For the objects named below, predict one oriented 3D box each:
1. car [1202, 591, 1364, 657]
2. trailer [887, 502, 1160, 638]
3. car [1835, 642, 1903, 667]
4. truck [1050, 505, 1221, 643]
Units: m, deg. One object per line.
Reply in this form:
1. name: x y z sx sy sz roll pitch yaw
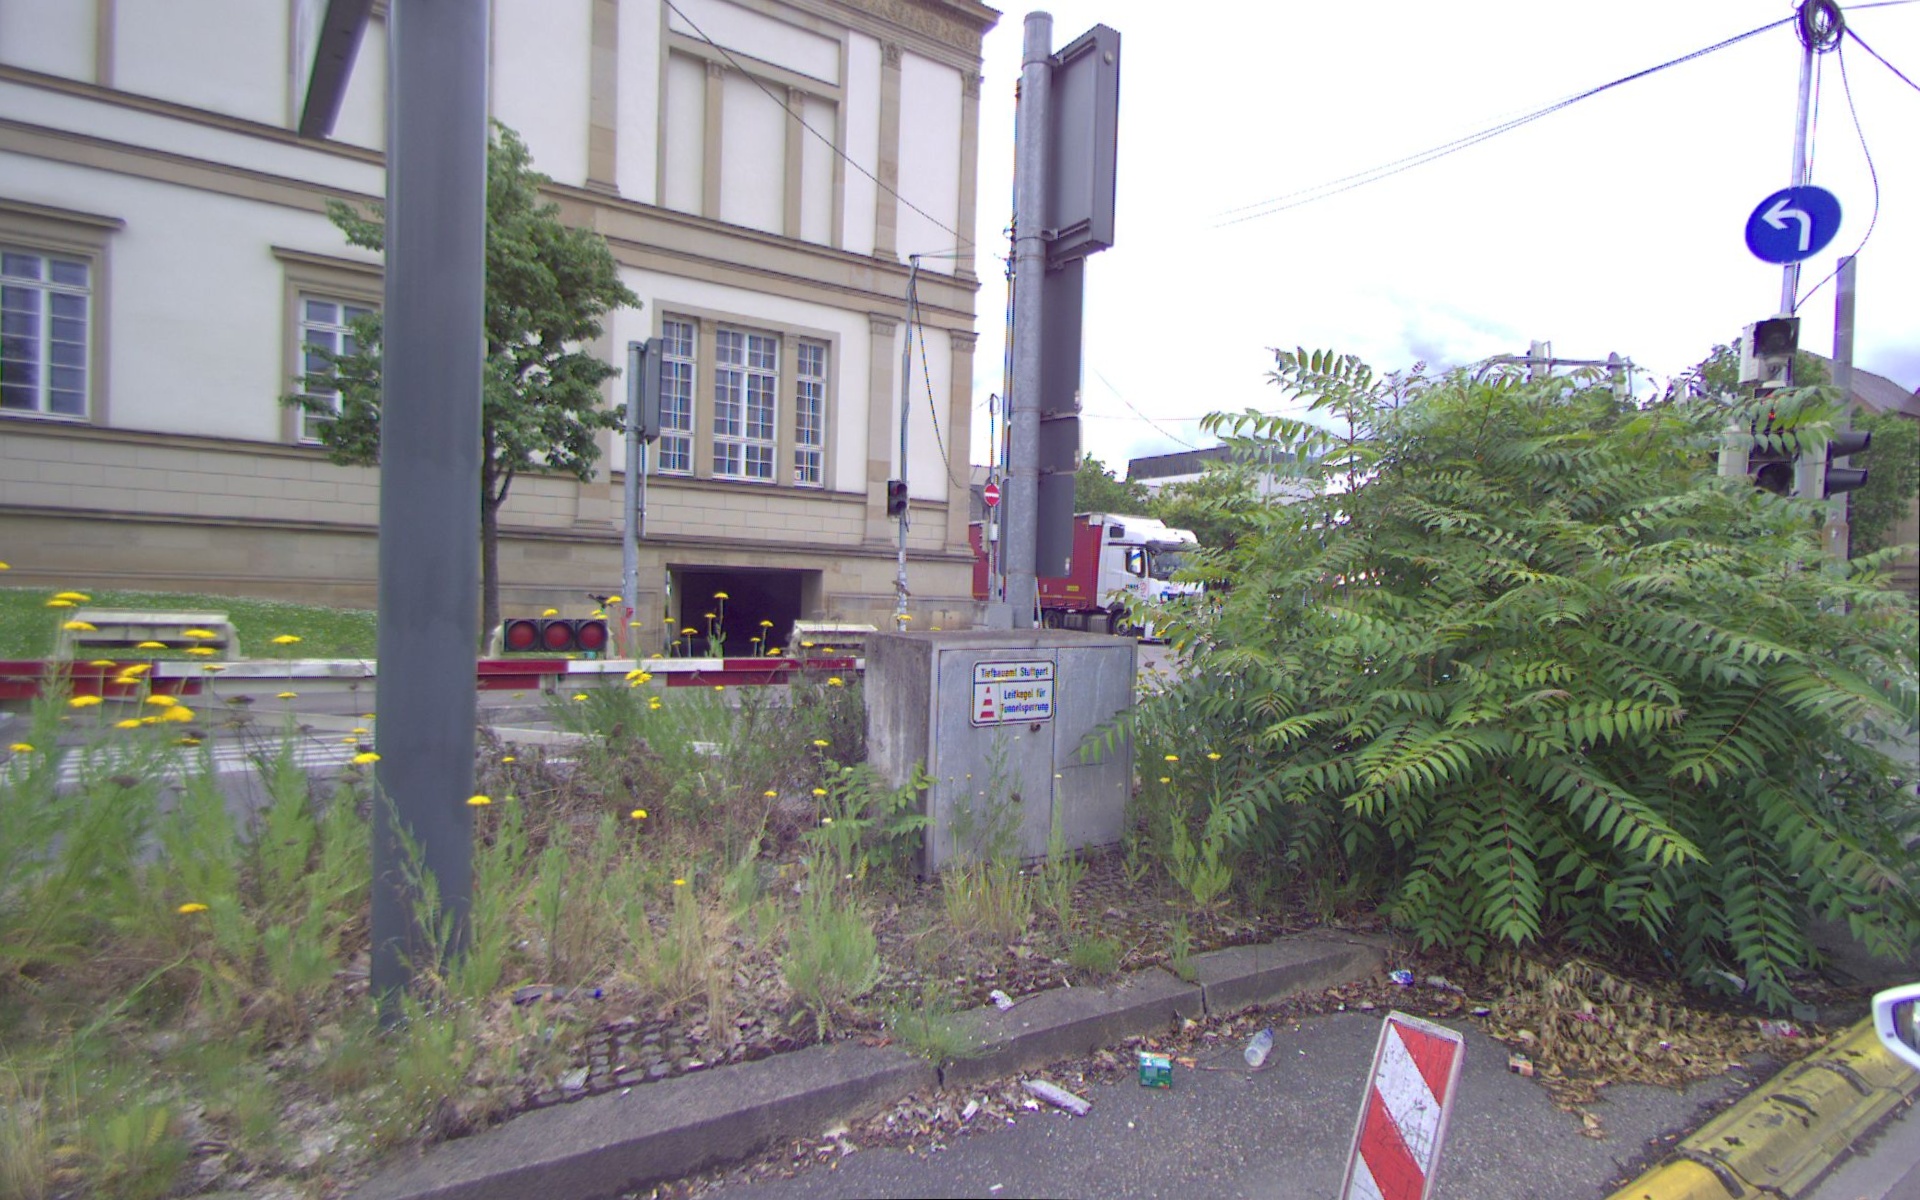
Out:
1. car: 8.753 0.619 27.542 1.810 1.646 4.032 2 0 -31
2. trailer: 1.779 -1.006 38.734 2.916 4.338 13.662 2 0 -33
3. car: 55.925 3.356 61.804 3.629 1.417 1.673 2 0 -22
4. truck: 5.622 -0.764 32.765 2.915 4.118 4.846 2 0 -34
